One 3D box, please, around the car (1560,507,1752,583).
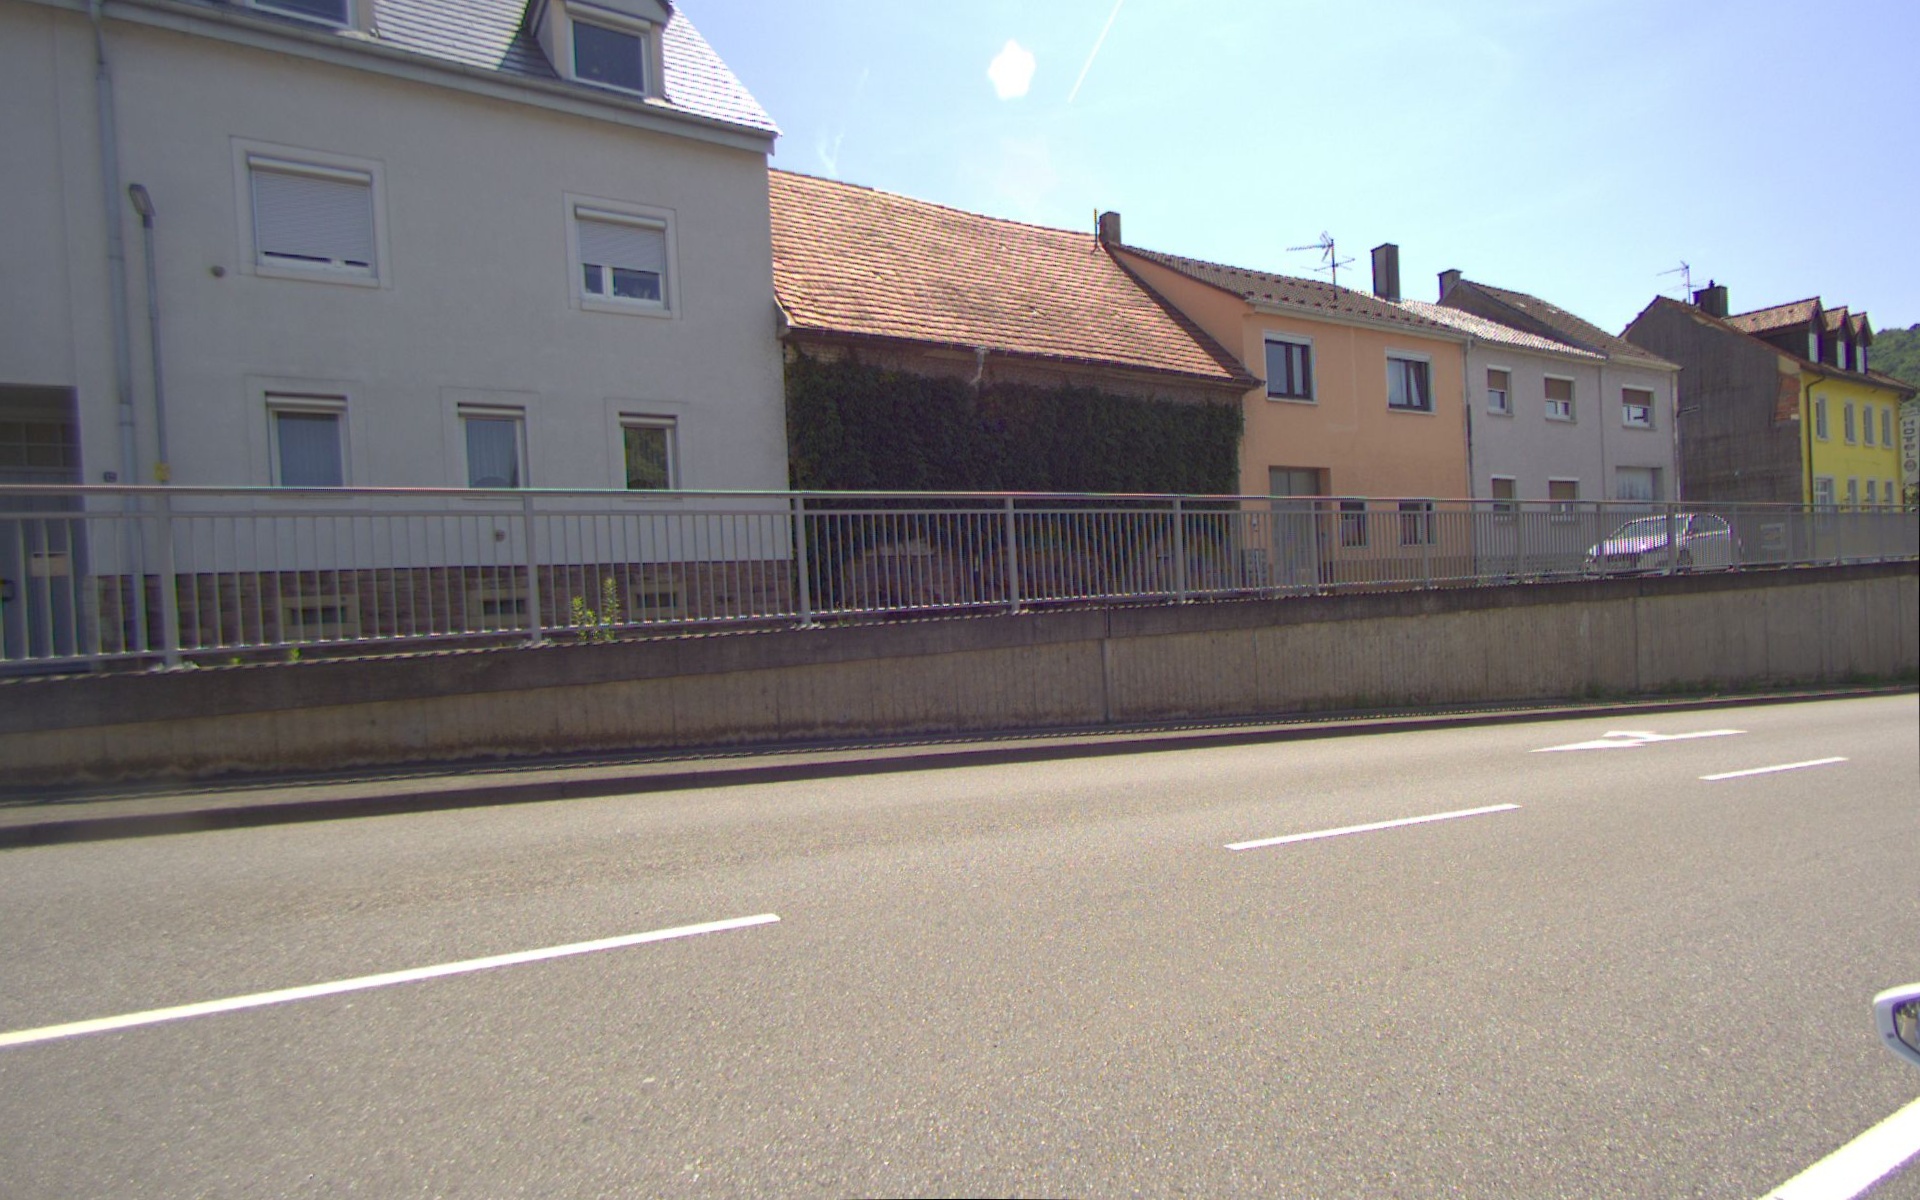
[{"bbox_3d":[15.087,-1.198,21.736,4.258,1.482,1.804,-3,2,-30],"label":"car"}]
